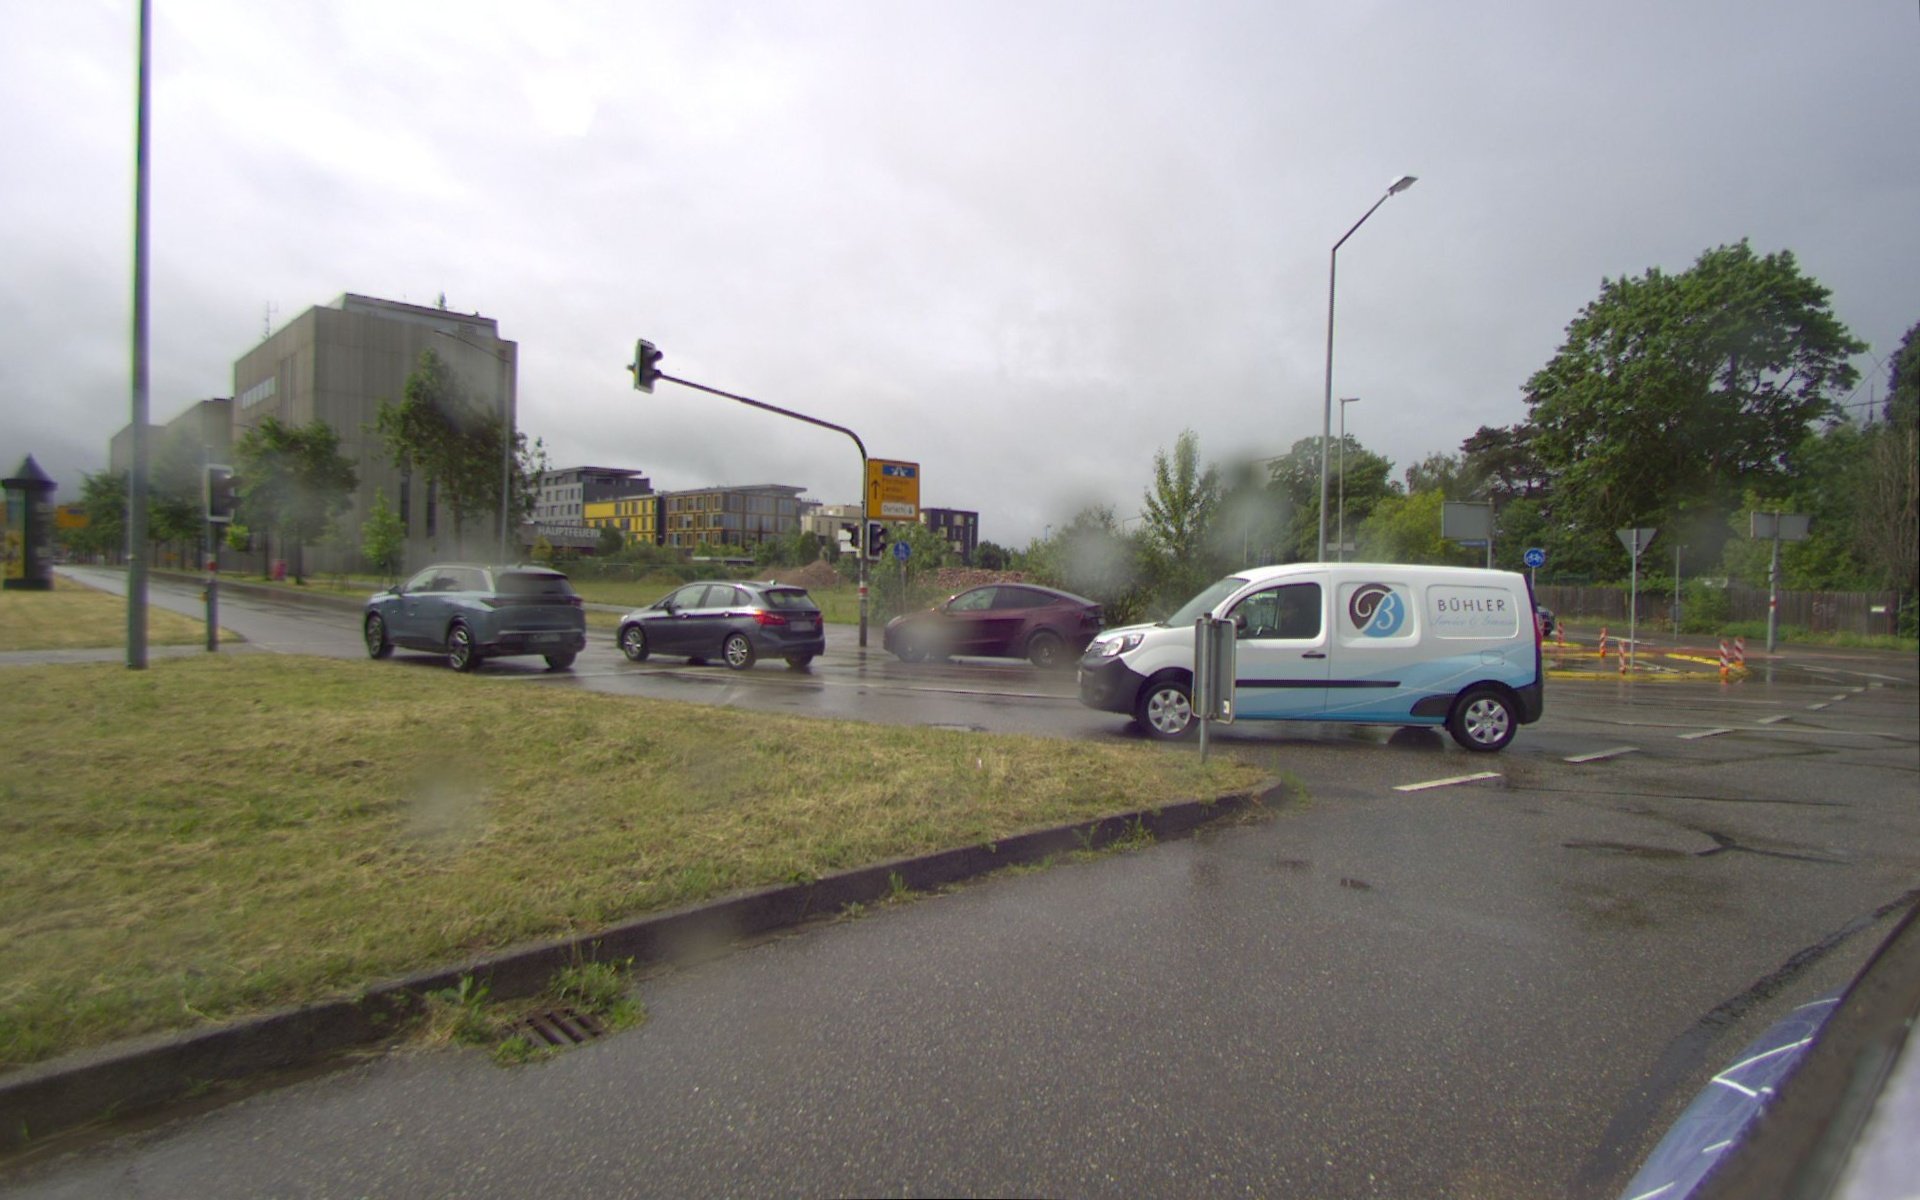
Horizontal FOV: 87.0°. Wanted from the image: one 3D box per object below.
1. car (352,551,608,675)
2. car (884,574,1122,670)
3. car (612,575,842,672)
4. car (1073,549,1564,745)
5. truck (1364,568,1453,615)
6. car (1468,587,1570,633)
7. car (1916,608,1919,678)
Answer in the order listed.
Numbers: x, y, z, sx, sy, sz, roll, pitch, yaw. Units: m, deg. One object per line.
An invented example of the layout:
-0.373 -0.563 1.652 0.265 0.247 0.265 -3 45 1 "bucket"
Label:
-8.019 0.138 16.800 4.296 1.779 2.016 2 1 36 "car"
0.875 0.385 20.508 4.446 1.678 1.862 2 0 21 "car"
-4.295 0.363 18.563 3.966 1.547 1.792 2 1 30 "car"
3.530 0.435 10.666 4.467 1.785 1.867 1 0 2 "car"
28.103 -0.558 63.723 2.415 2.760 6.947 1 1 0 "truck"
22.518 0.352 40.960 1.842 1.684 4.479 1 1 4 "car"
20.009 0.897 18.569 1.709 1.431 4.111 0 0 13 "car"
